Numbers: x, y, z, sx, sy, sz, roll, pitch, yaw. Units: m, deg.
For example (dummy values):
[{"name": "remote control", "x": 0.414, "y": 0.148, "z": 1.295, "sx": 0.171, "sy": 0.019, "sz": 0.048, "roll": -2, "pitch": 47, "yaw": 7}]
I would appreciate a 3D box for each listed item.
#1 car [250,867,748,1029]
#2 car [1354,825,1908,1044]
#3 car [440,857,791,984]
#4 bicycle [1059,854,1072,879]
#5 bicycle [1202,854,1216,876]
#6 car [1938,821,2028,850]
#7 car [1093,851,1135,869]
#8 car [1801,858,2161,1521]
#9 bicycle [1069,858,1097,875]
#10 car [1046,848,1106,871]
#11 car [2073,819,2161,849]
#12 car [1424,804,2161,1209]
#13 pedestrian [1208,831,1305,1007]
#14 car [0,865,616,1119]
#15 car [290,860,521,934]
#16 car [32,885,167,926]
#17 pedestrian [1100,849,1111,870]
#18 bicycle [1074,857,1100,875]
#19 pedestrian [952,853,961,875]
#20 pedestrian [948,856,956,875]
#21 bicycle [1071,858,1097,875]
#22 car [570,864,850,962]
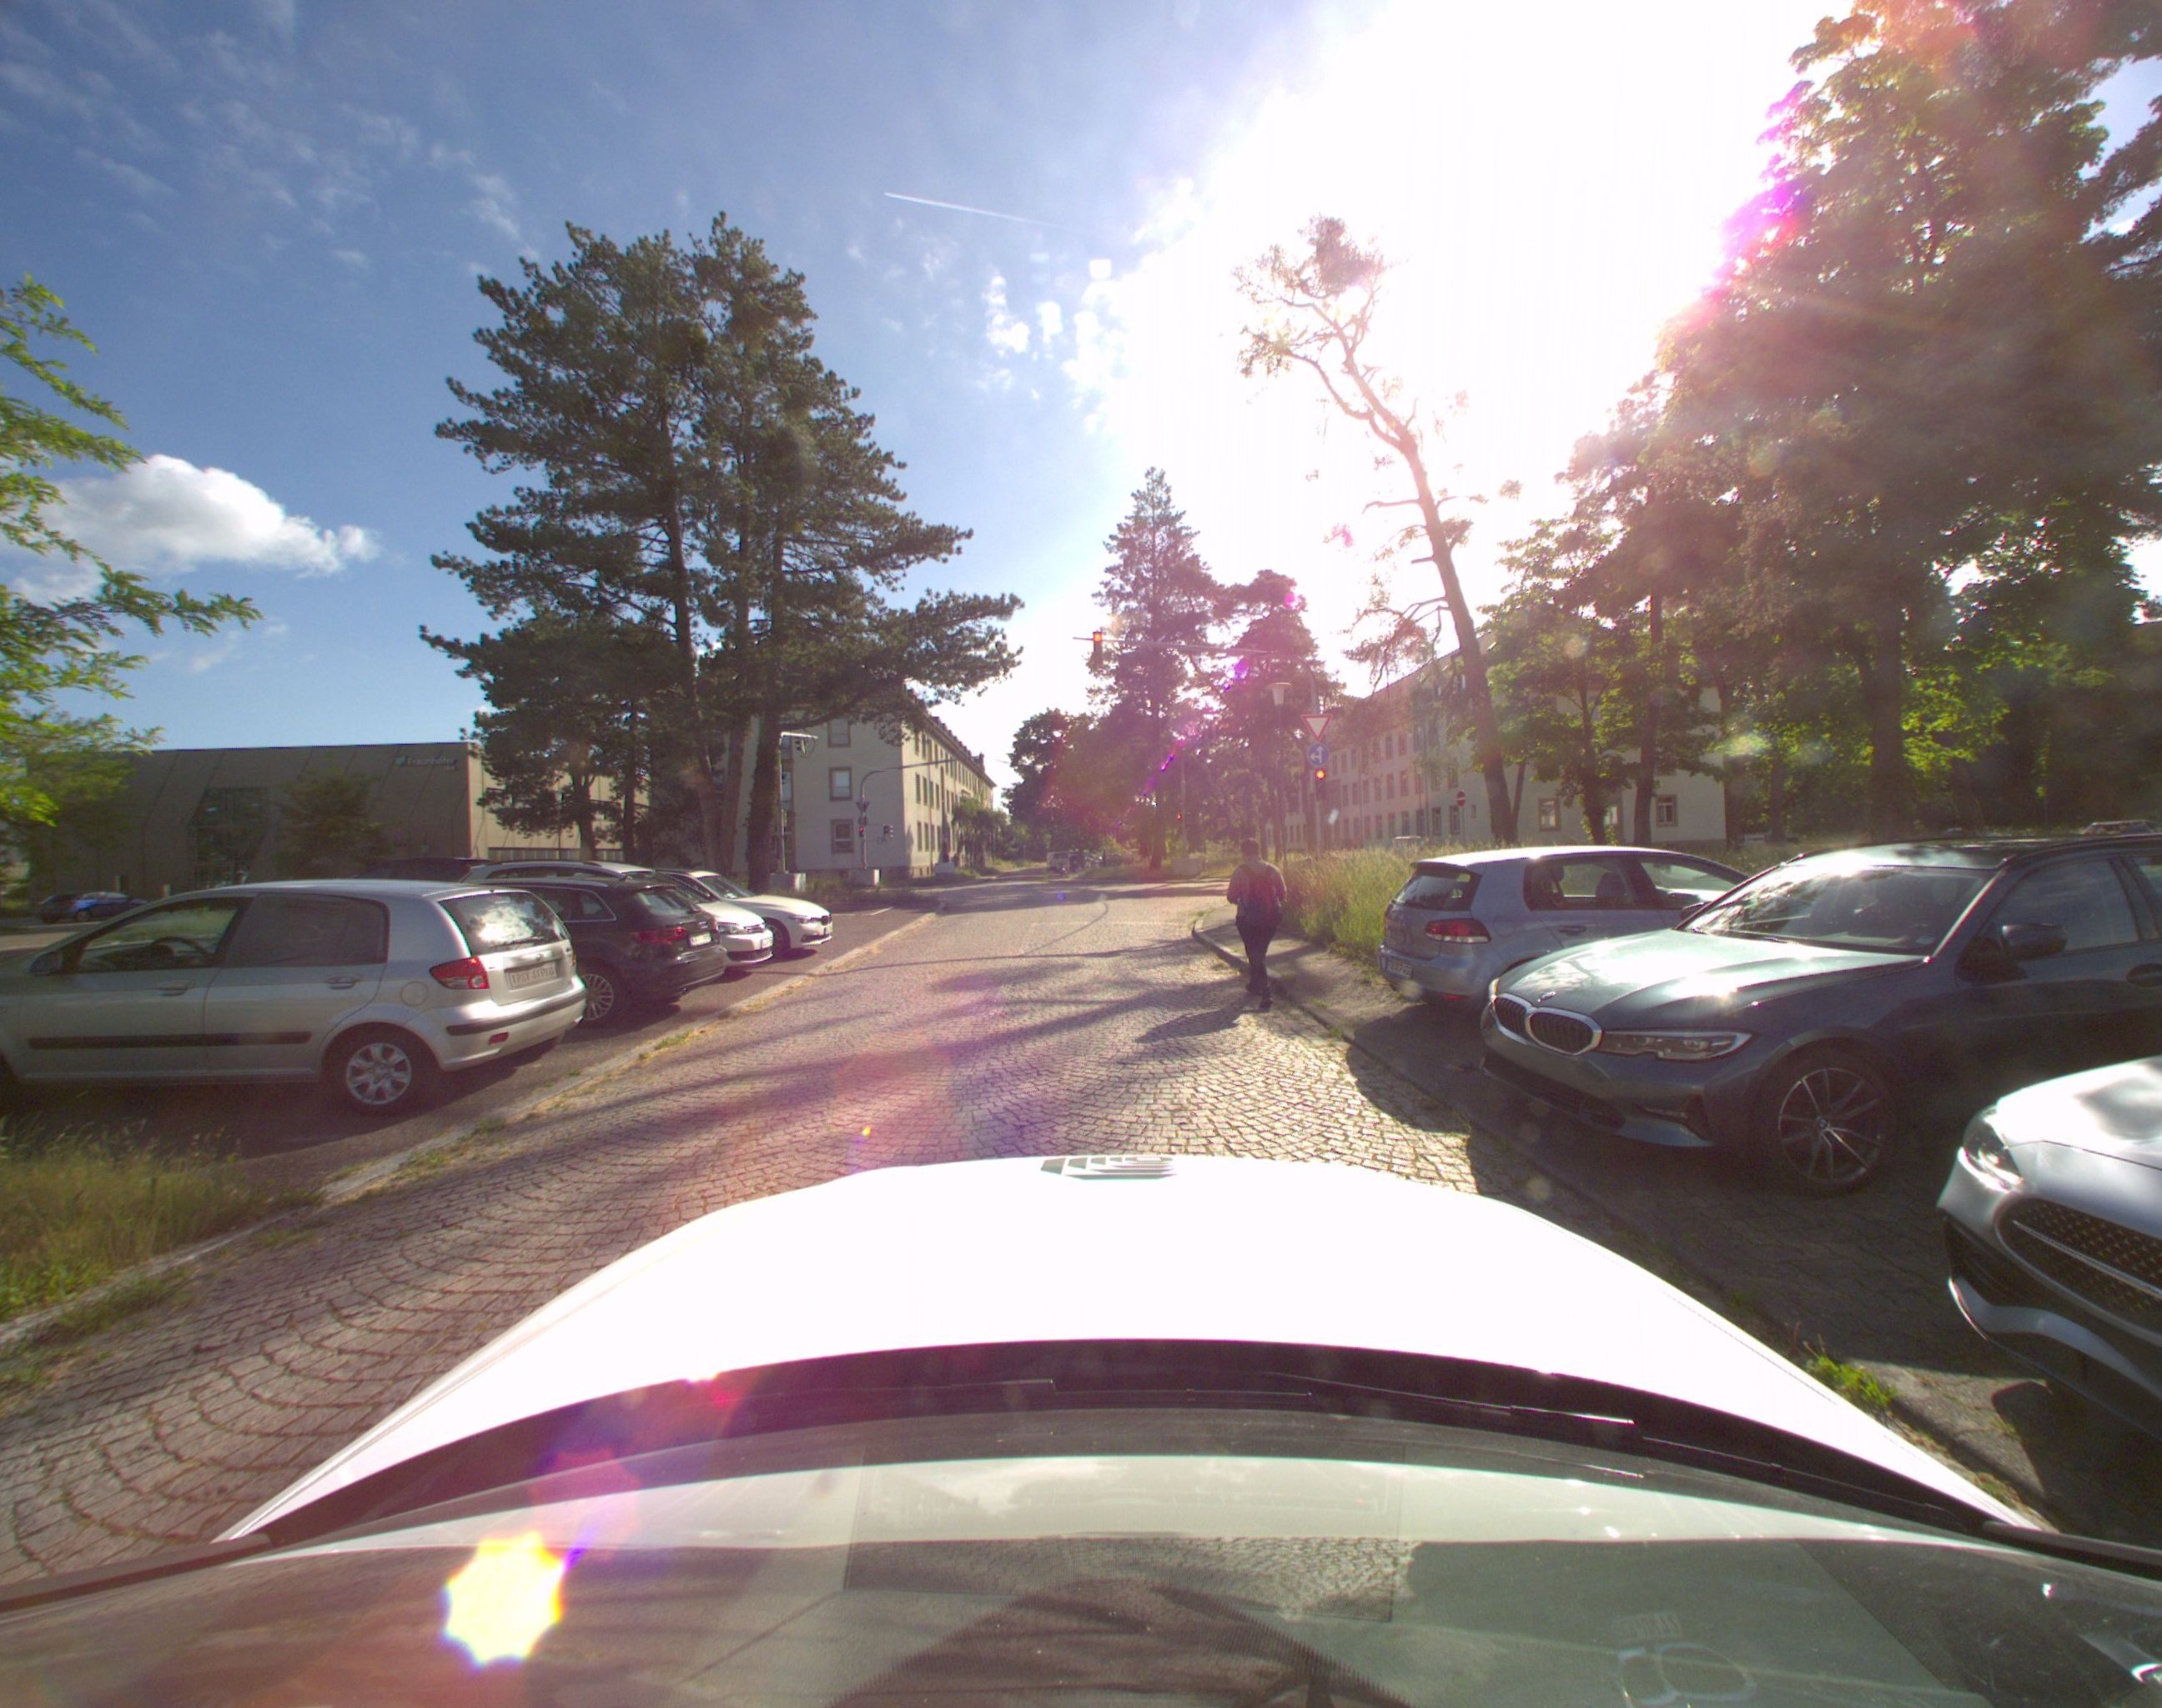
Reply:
[{"name": "car", "x": -5.843, "y": 0.920, "z": 8.582, "sx": 3.928, "sy": 1.445, "sz": 1.689, "roll": 1, "pitch": 0, "yaw": -3}, {"name": "car", "x": 4.514, "y": 0.609, "z": 7.071, "sx": 3.663, "sy": 1.443, "sz": 1.664, "roll": -4, "pitch": 0, "yaw": -2}, {"name": "car", "x": -6.285, "y": 0.866, "z": 11.339, "sx": 3.870, "sy": 1.615, "sz": 1.659, "roll": 0, "pitch": 0, "yaw": -3}, {"name": "bicycle", "x": -1.006, "y": 0.804, "z": 52.627, "sx": 0.751, "sy": 1.580, "sz": 2.535, "roll": -2, "pitch": 0, "yaw": -2}, {"name": "bicycle", "x": 6.935, "y": 0.574, "z": 44.186, "sx": 0.717, "sy": 1.115, "sz": 2.590, "roll": -2, "pitch": 0, "yaw": 8}, {"name": "car", "x": 56.356, "y": -1.161, "z": 50.946, "sx": 3.623, "sy": 1.671, "sz": 1.767, "roll": -2, "pitch": 0, "yaw": 1}, {"name": "car", "x": 3.138, "y": 0.526, "z": 77.749, "sx": 3.742, "sy": 1.580, "sz": 1.736, "roll": -2, "pitch": 0, "yaw": -9}, {"name": "car", "x": 4.535, "y": 0.651, "z": 1.797, "sx": 4.388, "sy": 1.388, "sz": 1.787, "roll": -3, "pitch": 0, "yaw": -3}, {"name": "bicycle", "x": 0.130, "y": 0.877, "z": 55.880, "sx": 1.831, "sy": 1.112, "sz": 0.494, "roll": -2, "pitch": 0, "yaw": -5}, {"name": "car", "x": -0.475, "y": 0.500, "z": 73.762, "sx": 5.068, "sy": 1.918, "sz": 1.993, "roll": -2, "pitch": 0, "yaw": -11}, {"name": "car", "x": 55.753, "y": -1.065, "z": 43.400, "sx": 3.623, "sy": 1.497, "sz": 1.767, "roll": -2, "pitch": 0, "yaw": 1}, {"name": "car", "x": 4.601, "y": 0.580, "z": 4.482, "sx": 4.610, "sy": 1.455, "sz": 1.867, "roll": -4, "pitch": 0, "yaw": -4}, {"name": "pedestrian", "x": 1.820, "y": 0.646, "z": 8.546, "sx": 0.751, "sy": 1.725, "sz": 0.828, "roll": 3, "pitch": 0, "yaw": -2}, {"name": "car", "x": -5.742, "y": 0.871, "z": 5.924, "sx": 3.678, "sy": 1.527, "sz": 1.697, "roll": 0, "pitch": 0, "yaw": -4}, {"name": "car", "x": -17.174, "y": 1.057, "z": 20.881, "sx": 4.131, "sy": 1.608, "sz": 2.009, "roll": -2, "pitch": 0, "yaw": -1}, {"name": "car", "x": -49.228, "y": 2.547, "z": 40.980, "sx": 1.858, "sy": 1.778, "sz": 4.004, "roll": -2, "pitch": 0, "yaw": 1}, {"name": "pedestrian", "x": 2.157, "y": 0.497, "z": 72.261, "sx": 0.759, "sy": 1.783, "sz": 0.682, "roll": -2, "pitch": 0, "yaw": -9}, {"name": "bicycle", "x": 0.409, "y": 0.832, "z": 57.114, "sx": 1.724, "sy": 1.164, "sz": 0.560, "roll": -2, "pitch": 0, "yaw": -5}, {"name": "pedestrian", "x": -10.202, "y": 0.799, "z": 66.687, "sx": 0.608, "sy": 1.752, "sz": 0.626, "roll": -2, "pitch": 0, "yaw": -18}, {"name": "pedestrian", "x": -11.040, "y": 0.994, "z": 69.550, "sx": 0.606, "sy": 1.560, "sz": 0.543, "roll": -2, "pitch": 0, "yaw": -8}, {"name": "bicycle", "x": 0.187, "y": 0.875, "z": 56.426, "sx": 1.724, "sy": 1.112, "sz": 0.483, "roll": -2, "pitch": 0, "yaw": -5}, {"name": "car", "x": -6.219, "y": 0.952, "z": 13.955, "sx": 3.970, "sy": 1.496, "sz": 1.774, "roll": 0, "pitch": 0, "yaw": 3}]
